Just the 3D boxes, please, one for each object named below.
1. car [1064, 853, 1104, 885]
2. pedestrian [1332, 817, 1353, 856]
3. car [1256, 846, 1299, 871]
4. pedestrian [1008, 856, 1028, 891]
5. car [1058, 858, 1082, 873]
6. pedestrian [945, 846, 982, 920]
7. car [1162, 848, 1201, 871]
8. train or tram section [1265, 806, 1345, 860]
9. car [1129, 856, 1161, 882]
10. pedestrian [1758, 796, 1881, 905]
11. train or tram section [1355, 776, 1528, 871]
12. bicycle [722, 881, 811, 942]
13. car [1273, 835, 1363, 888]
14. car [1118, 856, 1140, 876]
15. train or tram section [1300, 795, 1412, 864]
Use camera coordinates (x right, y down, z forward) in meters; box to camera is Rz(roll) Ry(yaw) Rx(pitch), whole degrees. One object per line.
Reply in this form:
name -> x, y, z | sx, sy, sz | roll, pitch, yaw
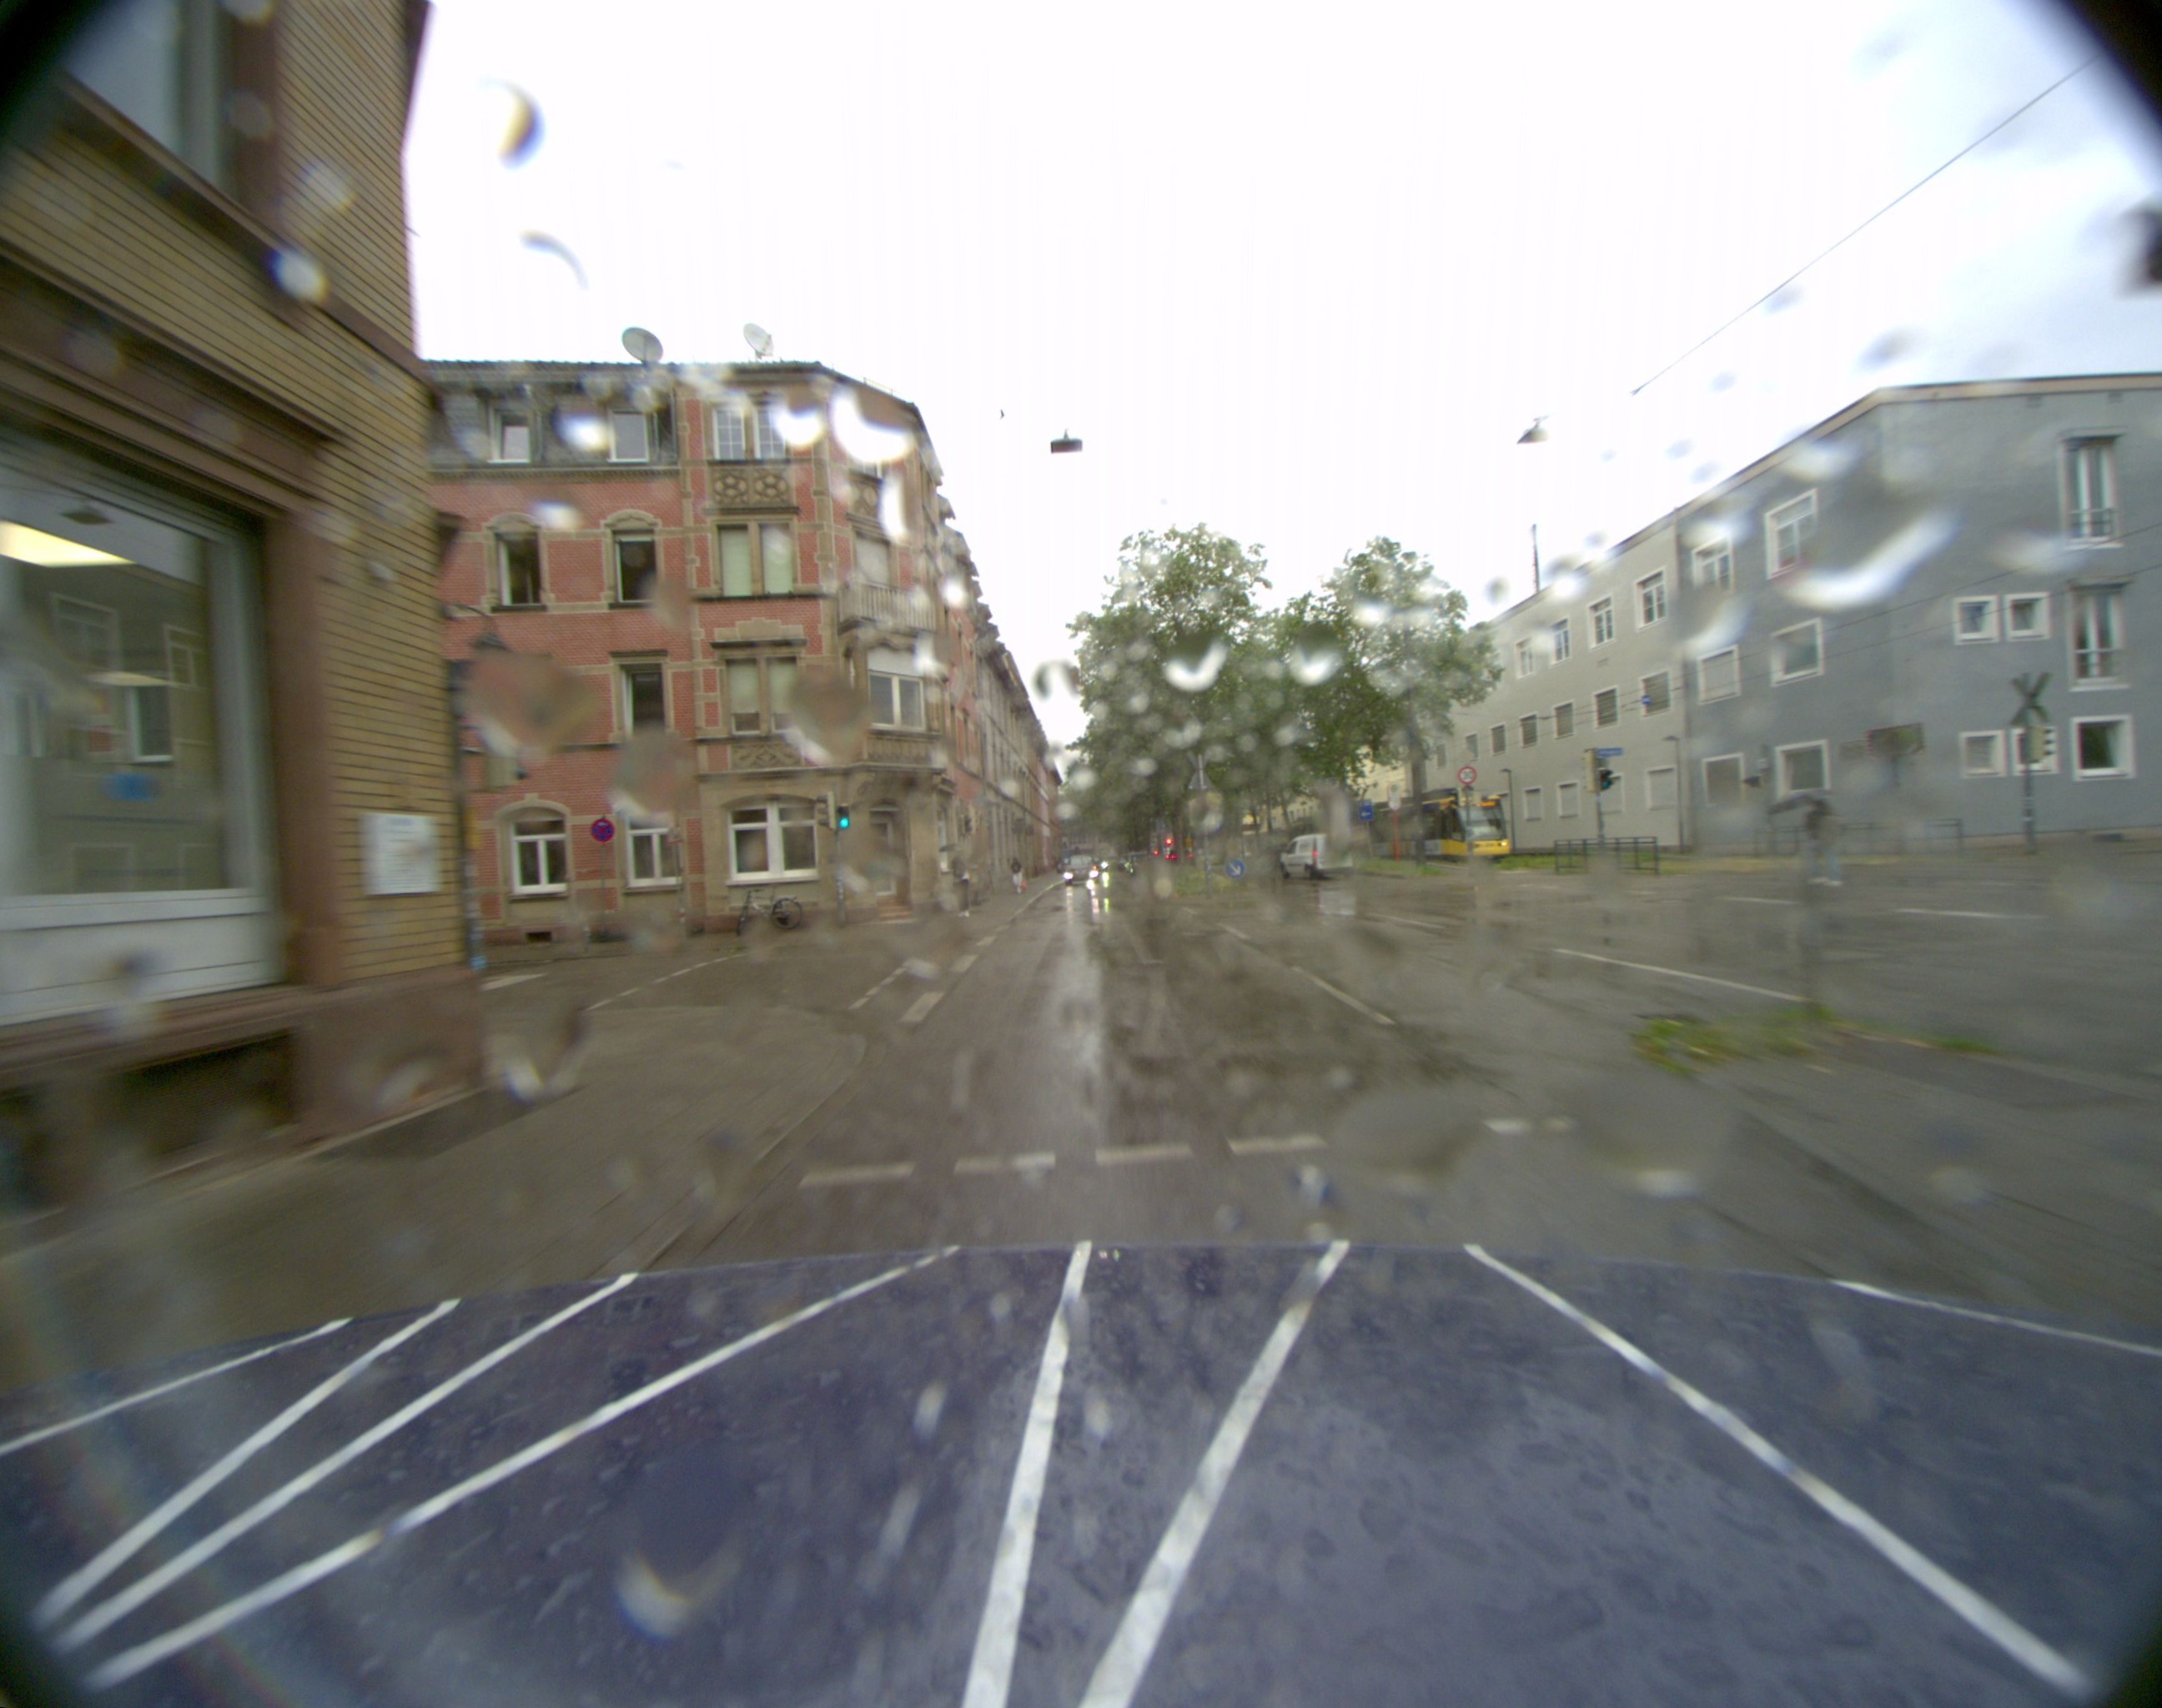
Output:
car -> 0.227, 0.850, 44.226 | 1.976, 1.629, 4.162 | -4, 0, 4
pedestrian -> 12.608, -0.839, 36.604 | 0.663, 1.844, 0.635 | -5, 1, 2
car -> 12.628, 0.287, 48.943 | 1.676, 1.376, 3.705 | -8, 0, 1
pedestrian -> -2.822, 0.873, 34.109 | 0.849, 1.564, 0.576 | 1, 1, 1
car -> -0.981, 1.038, 69.944 | 1.976, 1.359, 4.162 | 1, 0, 3
pedestrian -> -3.095, 0.745, 20.040 | 0.787, 1.903, 0.929 | -1, 1, 1
car -> 7.872, 0.426, 59.782 | 2.062, 1.609, 4.672 | -5, 0, -3
train or tram section -> 17.414, -1.528, 60.031 | 2.907, 3.621, 11.551 | -5, 0, 1
car -> 4.152, 0.961, 49.798 | 1.732, 1.473, 4.006 | -5, 0, 1
pedestrian -> 13.130, -0.065, 13.558 | 0.938, 1.789, 1.206 | -4, 1, 1
train or tram section -> 16.859, -1.302, 36.925 | 2.907, 3.621, 11.551 | -5, 0, 1
bicycle -> -7.373, 1.335, 17.866 | 1.691, 1.215, 0.678 | -5, 1, -6
car -> 9.457, 0.289, 30.666 | 1.938, 1.839, 4.065 | -5, 0, -5
car -> 4.415, 1.060, 69.092 | 1.663, 1.567, 3.423 | -4, 0, 7
train or tram section -> 17.132, -1.414, 48.458 | 2.907, 3.621, 11.551 | -5, 0, 1
